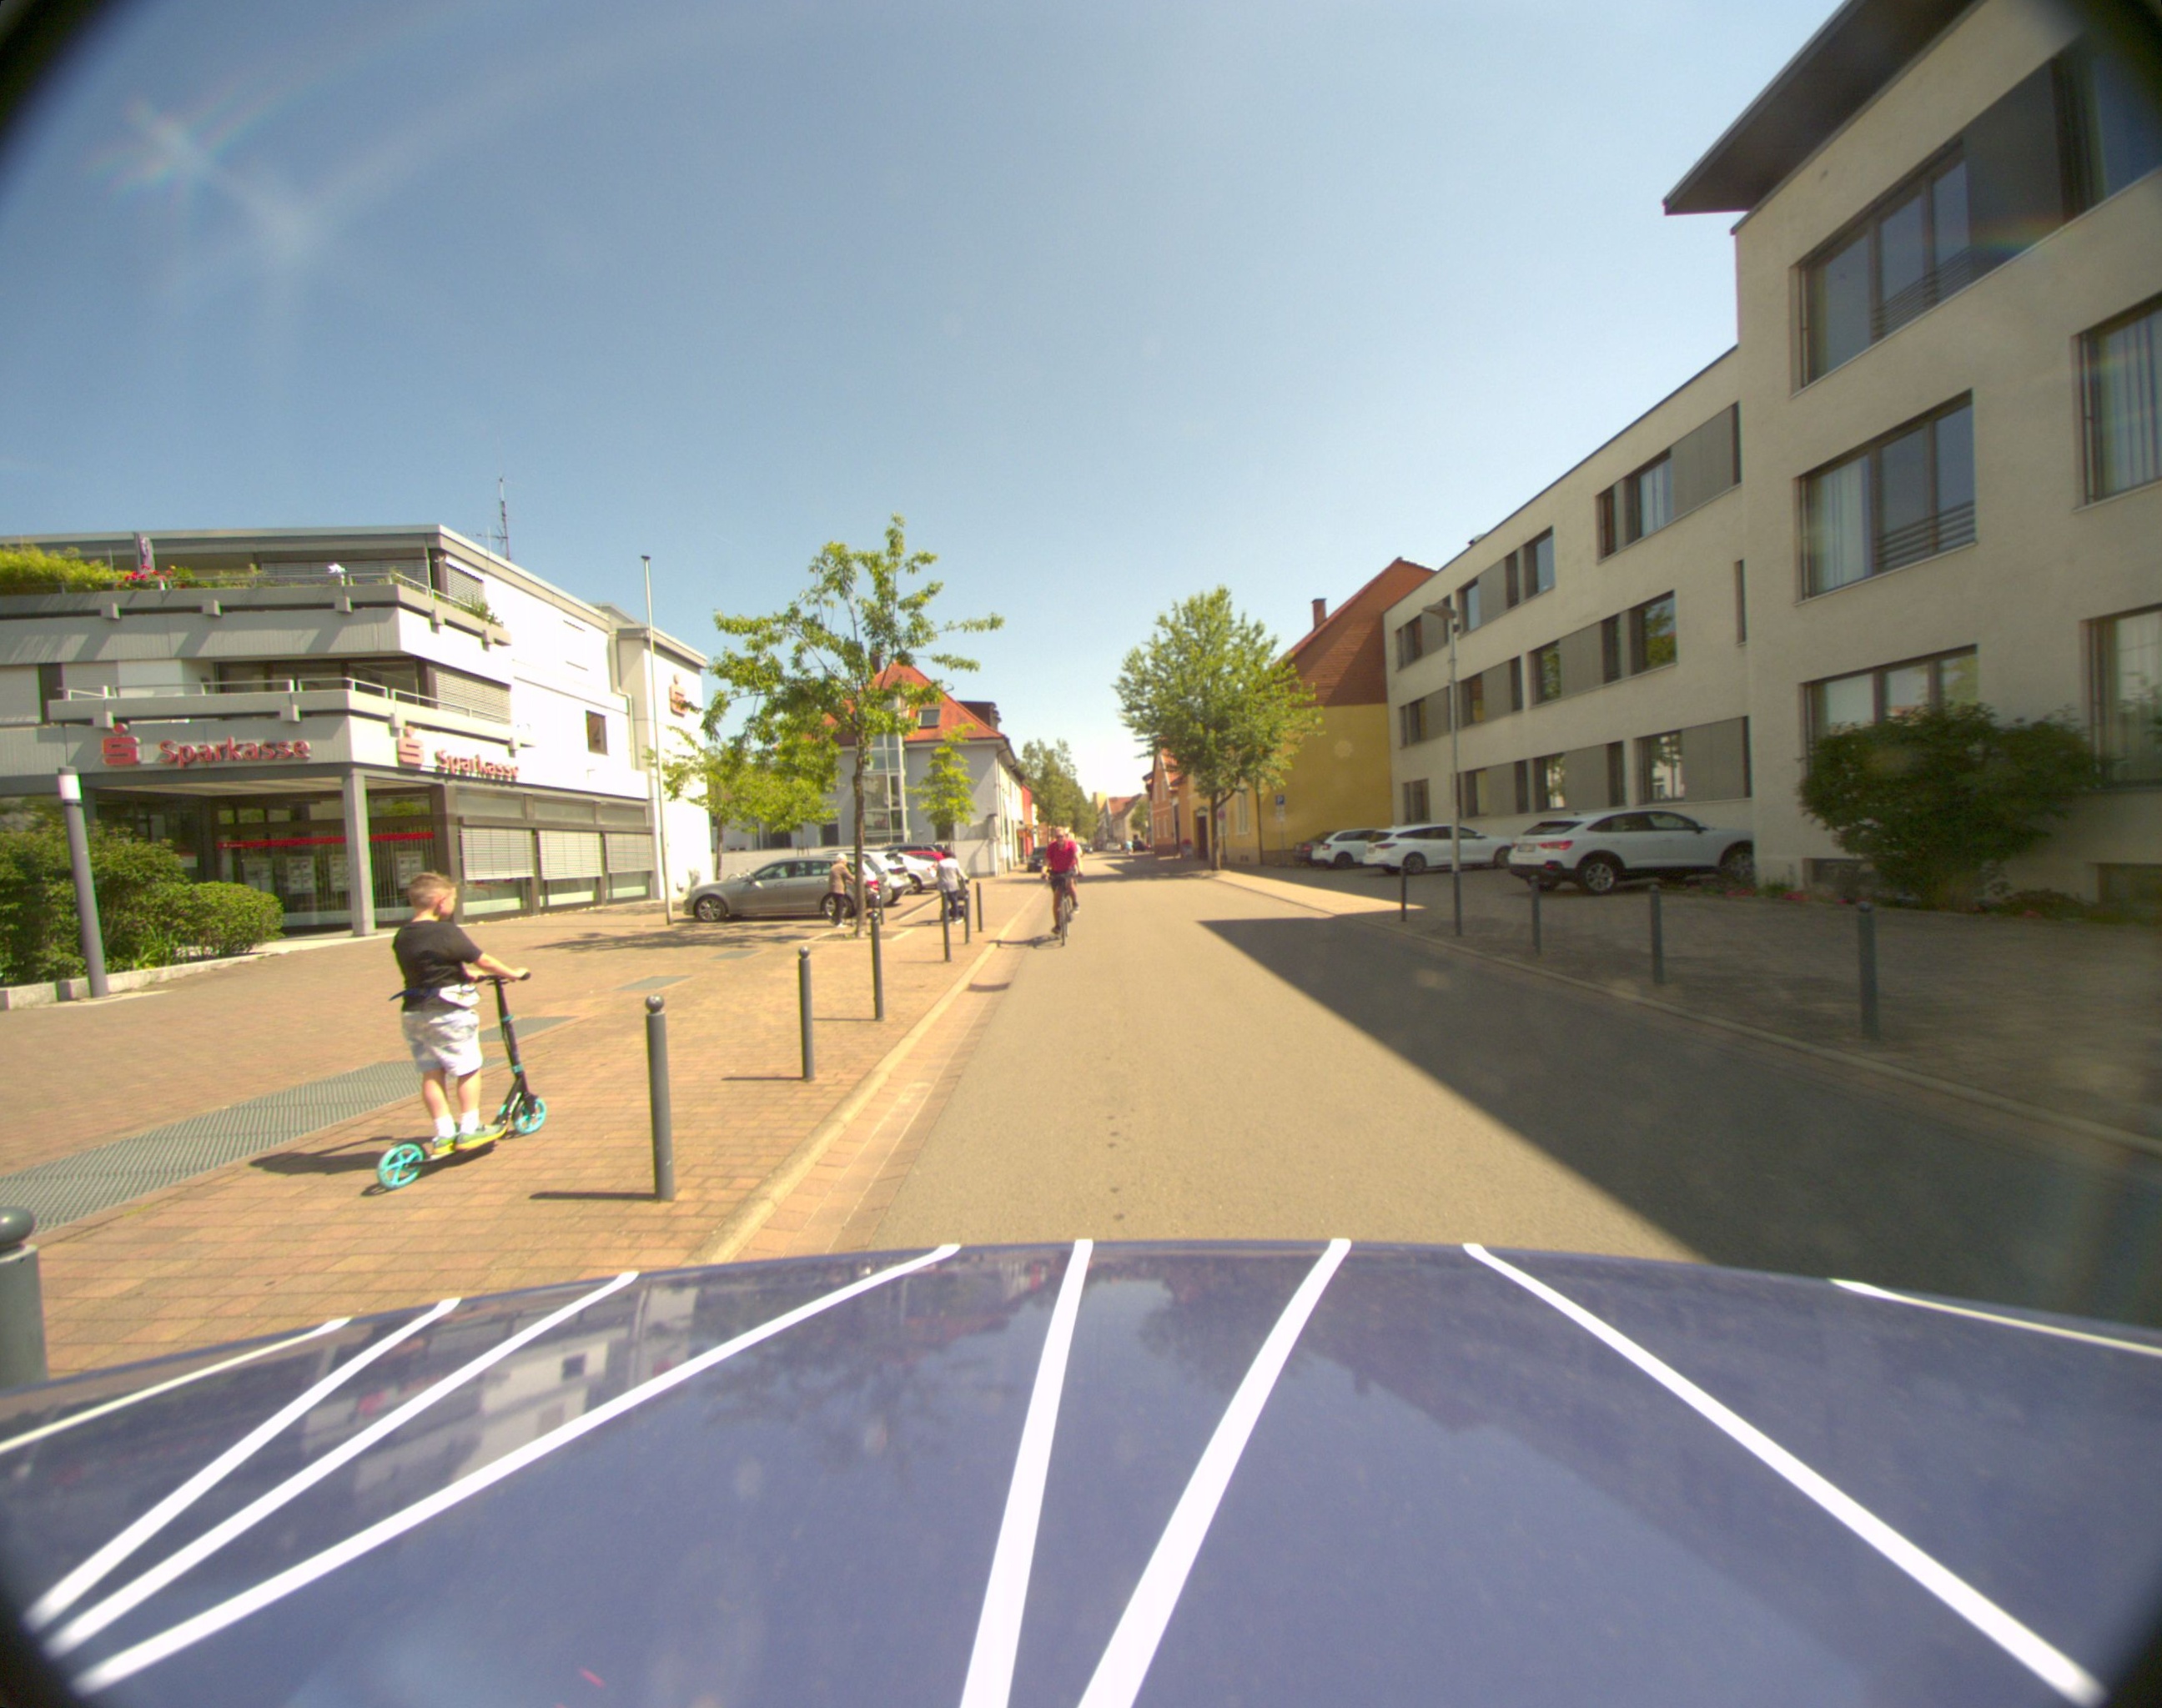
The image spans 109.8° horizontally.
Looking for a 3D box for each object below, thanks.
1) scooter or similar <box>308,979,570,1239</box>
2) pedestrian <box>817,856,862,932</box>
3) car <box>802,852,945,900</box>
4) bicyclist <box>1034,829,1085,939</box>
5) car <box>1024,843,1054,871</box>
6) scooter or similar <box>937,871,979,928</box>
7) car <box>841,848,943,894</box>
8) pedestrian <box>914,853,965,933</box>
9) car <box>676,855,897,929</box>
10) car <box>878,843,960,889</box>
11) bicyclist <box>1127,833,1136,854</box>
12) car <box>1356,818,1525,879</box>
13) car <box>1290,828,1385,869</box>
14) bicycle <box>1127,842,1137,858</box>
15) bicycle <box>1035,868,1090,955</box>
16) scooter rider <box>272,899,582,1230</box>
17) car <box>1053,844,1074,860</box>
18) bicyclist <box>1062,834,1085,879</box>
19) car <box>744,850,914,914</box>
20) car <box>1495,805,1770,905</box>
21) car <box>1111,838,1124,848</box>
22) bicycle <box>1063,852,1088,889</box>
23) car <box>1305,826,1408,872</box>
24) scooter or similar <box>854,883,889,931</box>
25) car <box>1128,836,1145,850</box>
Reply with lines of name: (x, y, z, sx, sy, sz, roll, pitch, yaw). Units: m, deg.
scooter or similar: (-3.123, 1.194, 3.795, 0.412, 0.960, 0.960, -2, 1, 3)
pedestrian: (-4.917, 0.798, 15.468, 0.725, 1.492, 0.530, -3, 2, -29)
car: (-6.965, 0.704, 25.875, 4.446, 1.434, 1.655, -1, 1, -7)
bicyclist: (-0.358, 0.473, 12.451, 0.703, 1.707, 0.759, -4, 2, -2)
car: (-2.421, 0.160, 43.411, 1.530, 1.444, 3.519, -4, 1, -5)
scooter or similar: (-2.550, 0.926, 15.816, 0.505, 1.112, 0.910, -1, 1, 16)
car: (-6.996, 0.605, 28.409, 3.430, 1.543, 1.489, -2, 1, -4)
pedestrian: (-2.784, 0.745, 15.018, 0.512, 1.507, 1.049, -1, 1, 17)
car: (-6.718, 0.839, 17.725, 4.445, 1.457, 1.689, -1, 2, -5)
car: (-6.466, 0.453, 30.545, 3.041, 1.727, 1.344, -1, 1, -5)
bicyclist: (3.997, -0.840, 60.222, 0.538, 1.630, 0.551, -2, 2, -1)
car: (10.778, -0.171, 22.945, 4.324, 1.470, 1.513, -4, 2, 1)
car: (10.201, -0.221, 30.351, 3.258, 1.393, 1.374, -4, 1, -1)
bicycle: (4.025, -0.303, 60.222, 0.595, 1.183, 1.724, -3, 2, -1)
bicycle: (-0.336, 0.904, 12.620, 0.738, 1.183, 1.970, -5, 2, -3)
scooter rider: (-3.151, 0.935, 3.795, 0.462, 1.317, 1.133, -2, 1, 2)
car: (-1.488, -0.165, 62.873, 1.530, 1.298, 3.248, -1, 1, -5)
bicyclist: (-0.289, 0.065, 27.570, 0.703, 1.573, 0.877, -4, 2, -2)
car: (-6.703, 0.711, 20.590, 4.046, 1.551, 1.711, -1, 1, -6)
car: (10.511, -0.004, 14.684, 3.997, 1.539, 1.748, -4, 1, -1)
car: (6.440, -1.893, 134.463, 1.999, 1.696, 3.999, -2, 1, 0)
bicycle: (-0.215, 0.572, 27.508, 0.690, 1.183, 1.798, -5, 2, -3)
car: (10.147, -0.196, 28.141, 3.139, 1.442, 1.642, -4, 1, 1)
scooter or similar: (-4.358, 1.087, 15.783, 0.547, 0.940, 0.535, -3, 2, -28)
car: (7.367, -1.487, 100.660, 1.825, 1.805, 3.999, -2, 1, 0)
